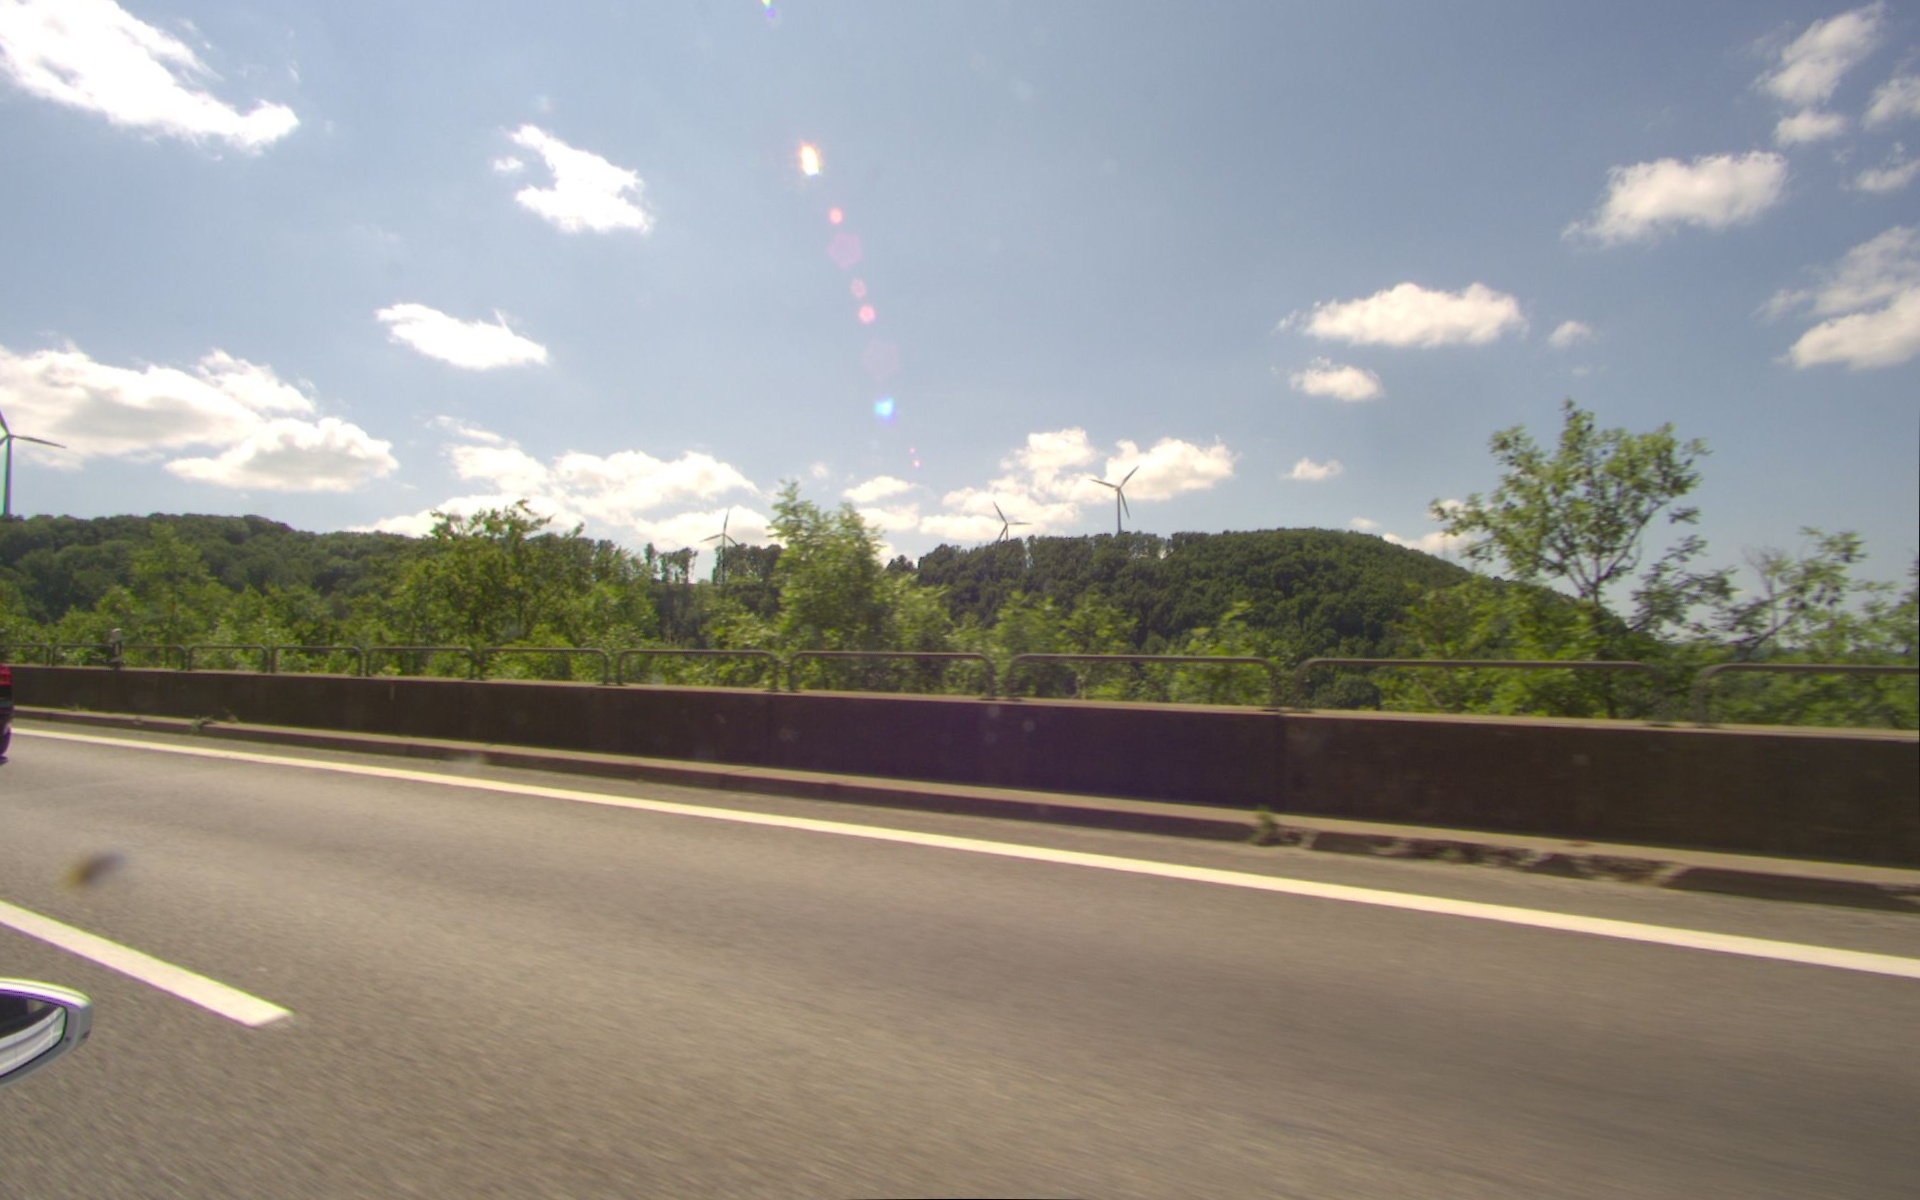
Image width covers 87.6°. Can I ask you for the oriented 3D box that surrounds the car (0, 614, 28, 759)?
[{"bbox_3d":[-13.262,0.999,11.953,4.592,1.654,1.833,-1,-2,30],"label":"car"}]
